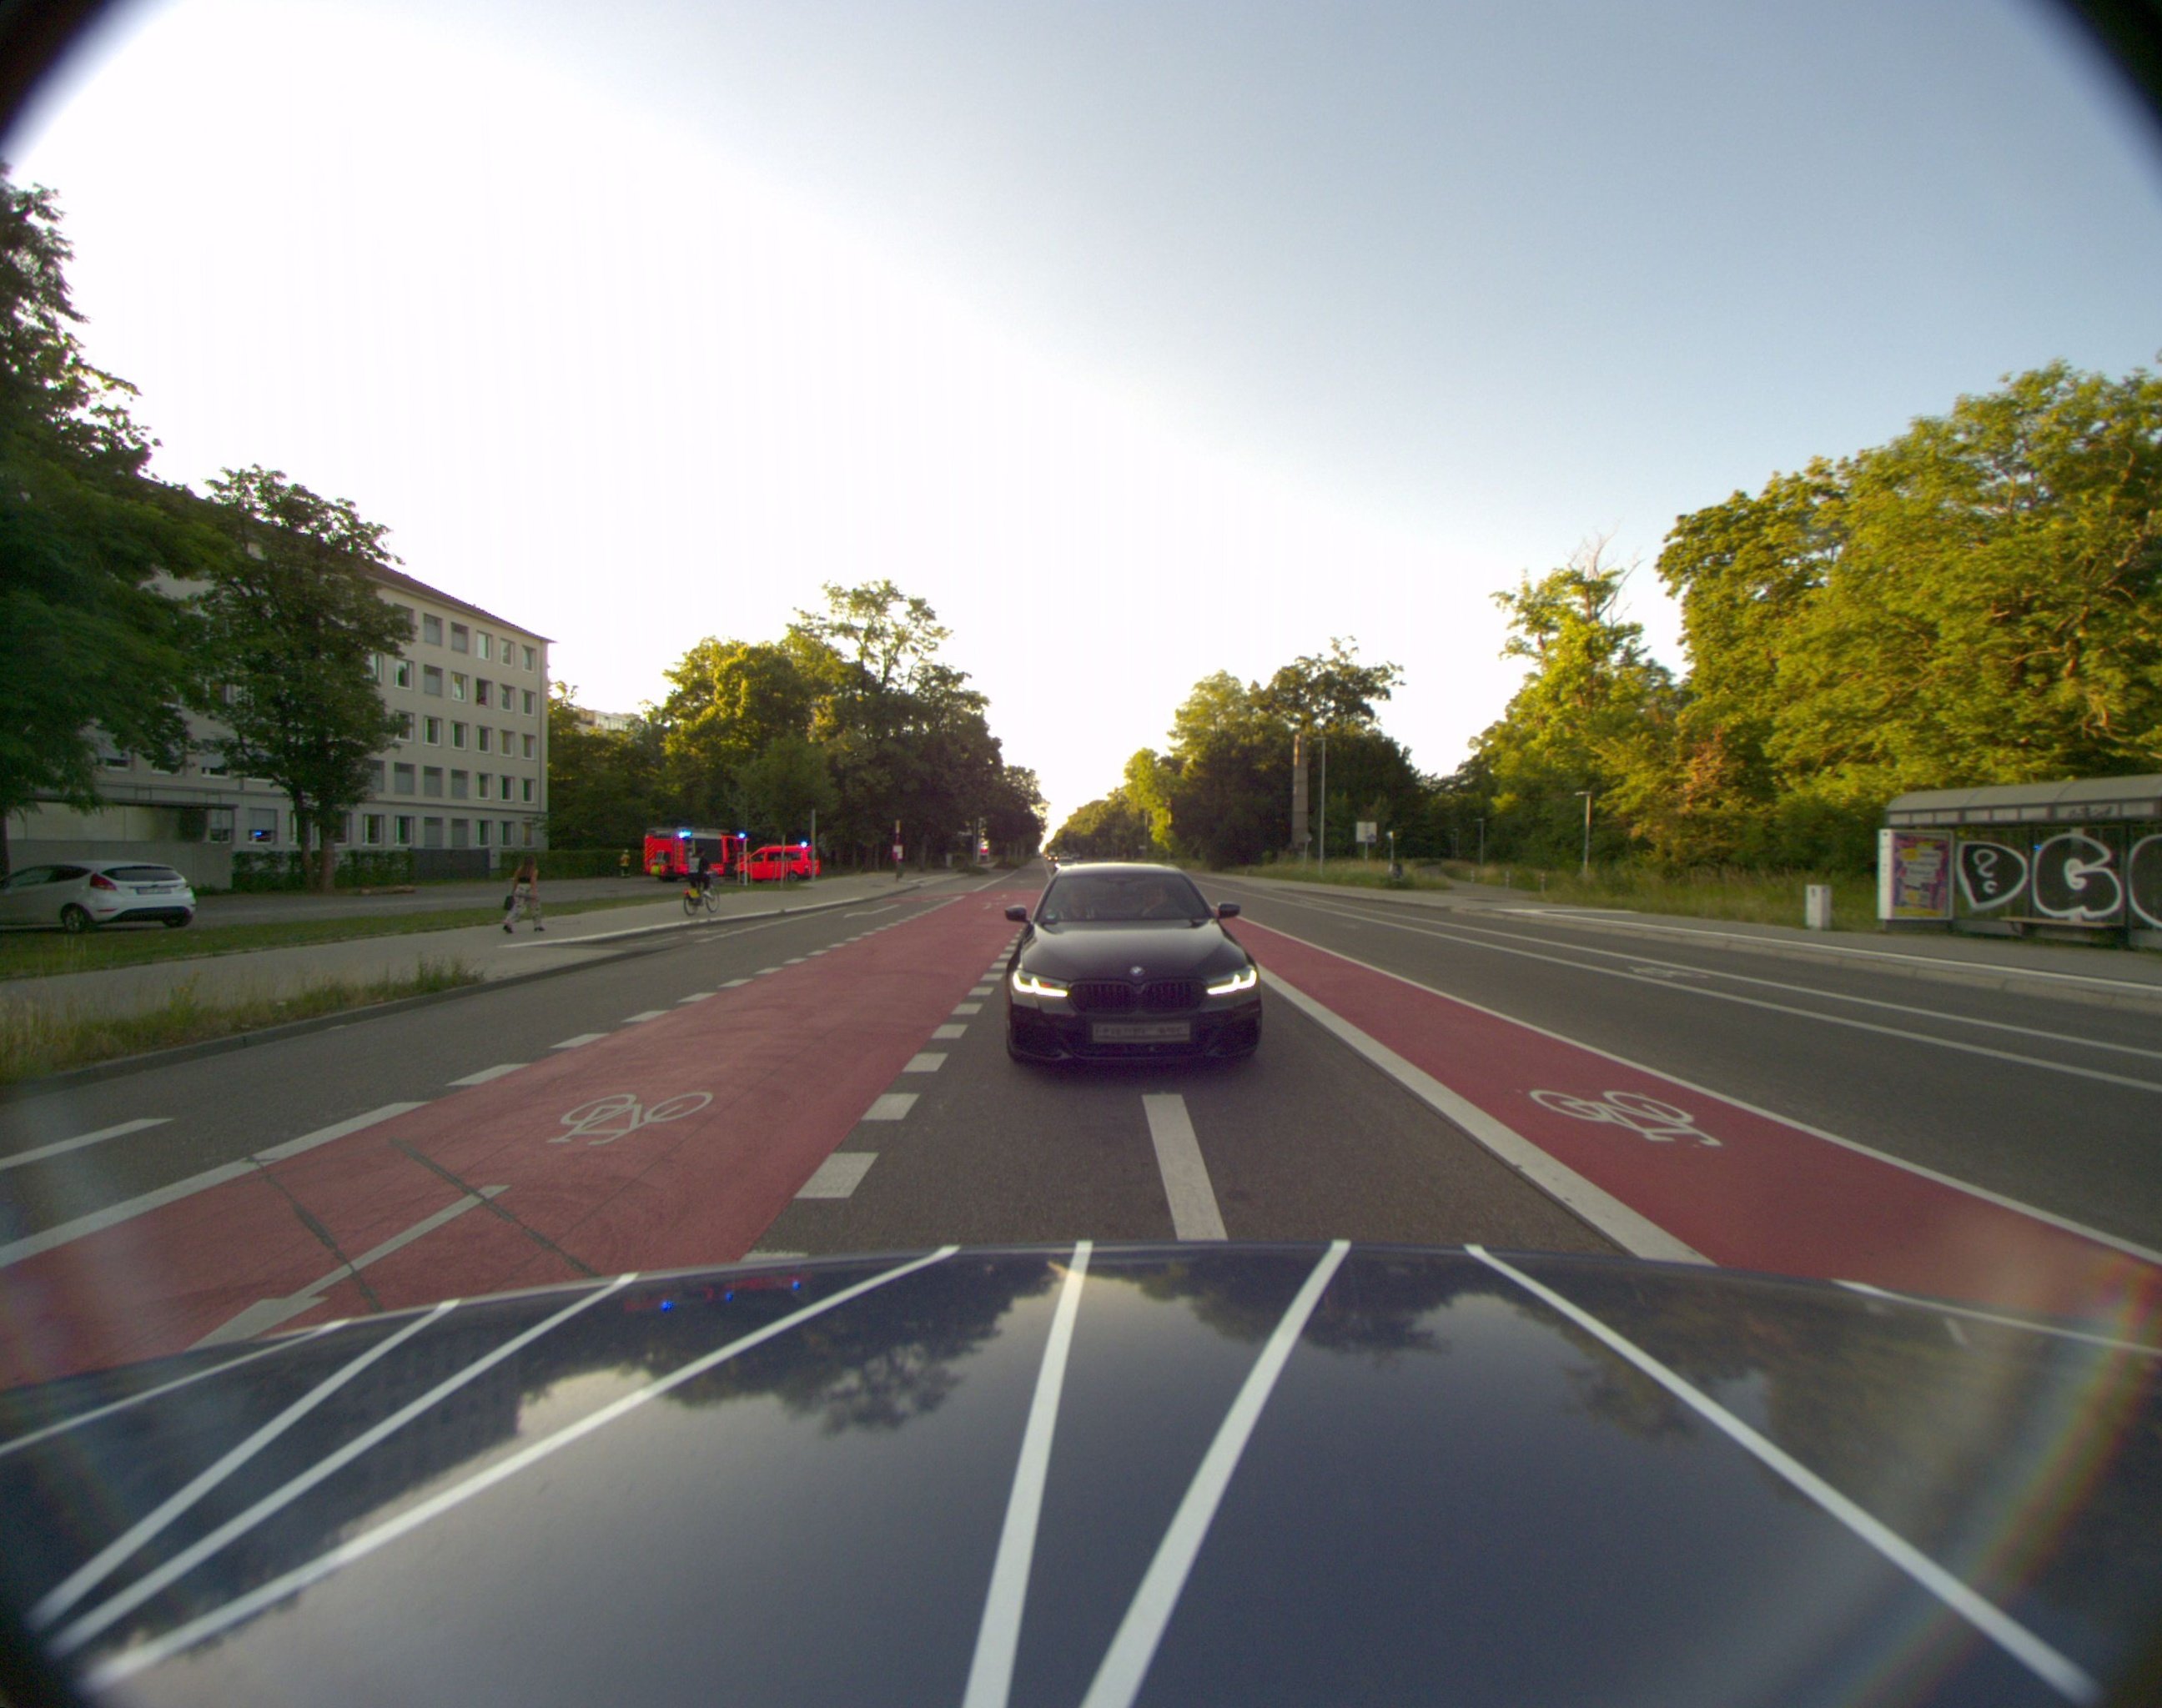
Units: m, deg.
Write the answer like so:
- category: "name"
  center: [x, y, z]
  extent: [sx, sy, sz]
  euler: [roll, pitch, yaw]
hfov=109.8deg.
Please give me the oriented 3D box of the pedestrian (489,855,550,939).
- category: "pedestrian"
  center: [-11.015, 0.826, 14.920]
  extent: [0.682, 1.613, 0.688]
  euler: [0, 0, 1]

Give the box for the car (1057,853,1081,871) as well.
- category: "car"
  center: [-1.017, 0.633, 63.587]
  extent: [1.850, 1.346, 4.702]
  euler: [-2, 0, -1]

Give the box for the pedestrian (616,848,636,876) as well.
- category: "pedestrian"
  center: [-29.570, 0.520, 49.408]
  extent: [0.844, 1.831, 0.683]
  euler: [0, 0, 10]

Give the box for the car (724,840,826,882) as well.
- category: "car"
  center: [-17.940, 0.398, 44.708]
  extent: [5.164, 2.379, 2.000]
  euler: [0, 1, 3]

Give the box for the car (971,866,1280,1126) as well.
- category: "car"
  center: [0.254, 0.903, 7.210]
  extent: [1.818, 1.391, 5.212]
  euler: [-2, 0, 0]

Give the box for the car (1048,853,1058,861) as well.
- category: "car"
  center: [-5.471, 0.584, 149.514]
  extent: [1.850, 1.473, 4.702]
  euler: [-2, 0, -1]

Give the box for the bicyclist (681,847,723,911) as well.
- category: "bicyclist"
  center: [-9.922, 0.630, 19.904]
  extent: [0.571, 1.623, 1.038]
  euler: [0, 1, 1]

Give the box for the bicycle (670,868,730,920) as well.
- category: "bicycle"
  center: [-9.924, 1.015, 19.859]
  extent: [0.571, 1.233, 1.899]
  euler: [0, 1, 1]

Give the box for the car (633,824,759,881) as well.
- category: "car"
  center: [-23.620, -0.133, 47.237]
  extent: [2.770, 3.225, 8.301]
  euler: [0, 0, 7]

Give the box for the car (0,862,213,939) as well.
- category: "car"
  center: [-20.817, 0.926, 15.879]
  extent: [3.662, 1.451, 1.665]
  euler: [0, 1, 5]
